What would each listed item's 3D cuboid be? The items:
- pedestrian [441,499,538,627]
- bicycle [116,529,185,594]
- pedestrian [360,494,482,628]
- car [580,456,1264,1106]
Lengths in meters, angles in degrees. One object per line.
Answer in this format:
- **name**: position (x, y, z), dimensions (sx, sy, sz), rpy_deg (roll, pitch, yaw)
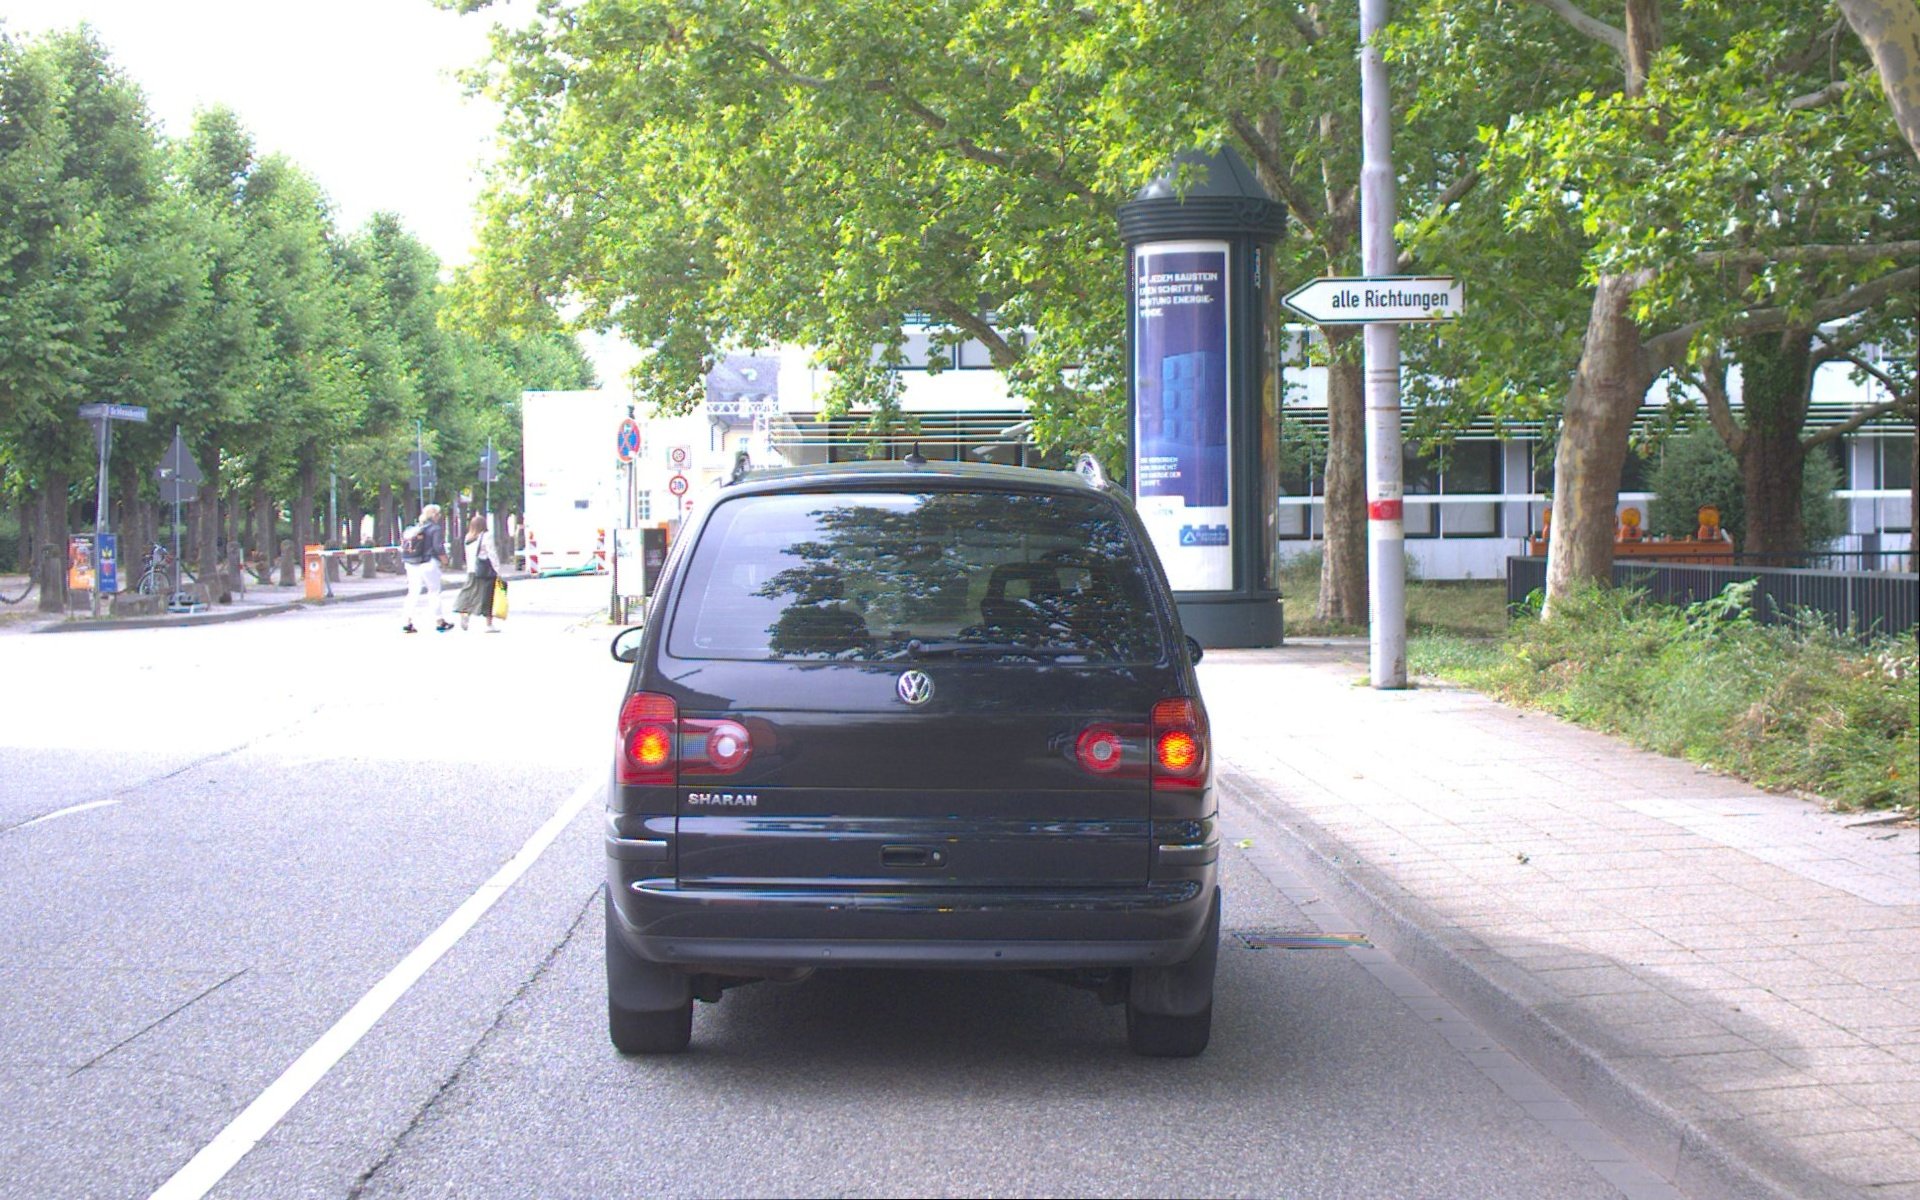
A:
- **pedestrian**: position (-6.162, -0.493, 45.067), dimensions (0.898, 1.635, 0.851), rpy_deg (2, 2, 34)
- **bicycle**: position (-14.634, -0.704, 62.097), dimensions (0.952, 1.106, 2.580), rpy_deg (1, 2, -19)
- **pedestrian**: position (-7.106, -0.521, 45.352), dimensions (0.962, 1.735, 1.253), rpy_deg (2, 2, 37)
- **car**: position (-0.165, 0.420, 11.175), dimensions (1.793, 1.702, 4.131), rpy_deg (-1, 2, -2)
